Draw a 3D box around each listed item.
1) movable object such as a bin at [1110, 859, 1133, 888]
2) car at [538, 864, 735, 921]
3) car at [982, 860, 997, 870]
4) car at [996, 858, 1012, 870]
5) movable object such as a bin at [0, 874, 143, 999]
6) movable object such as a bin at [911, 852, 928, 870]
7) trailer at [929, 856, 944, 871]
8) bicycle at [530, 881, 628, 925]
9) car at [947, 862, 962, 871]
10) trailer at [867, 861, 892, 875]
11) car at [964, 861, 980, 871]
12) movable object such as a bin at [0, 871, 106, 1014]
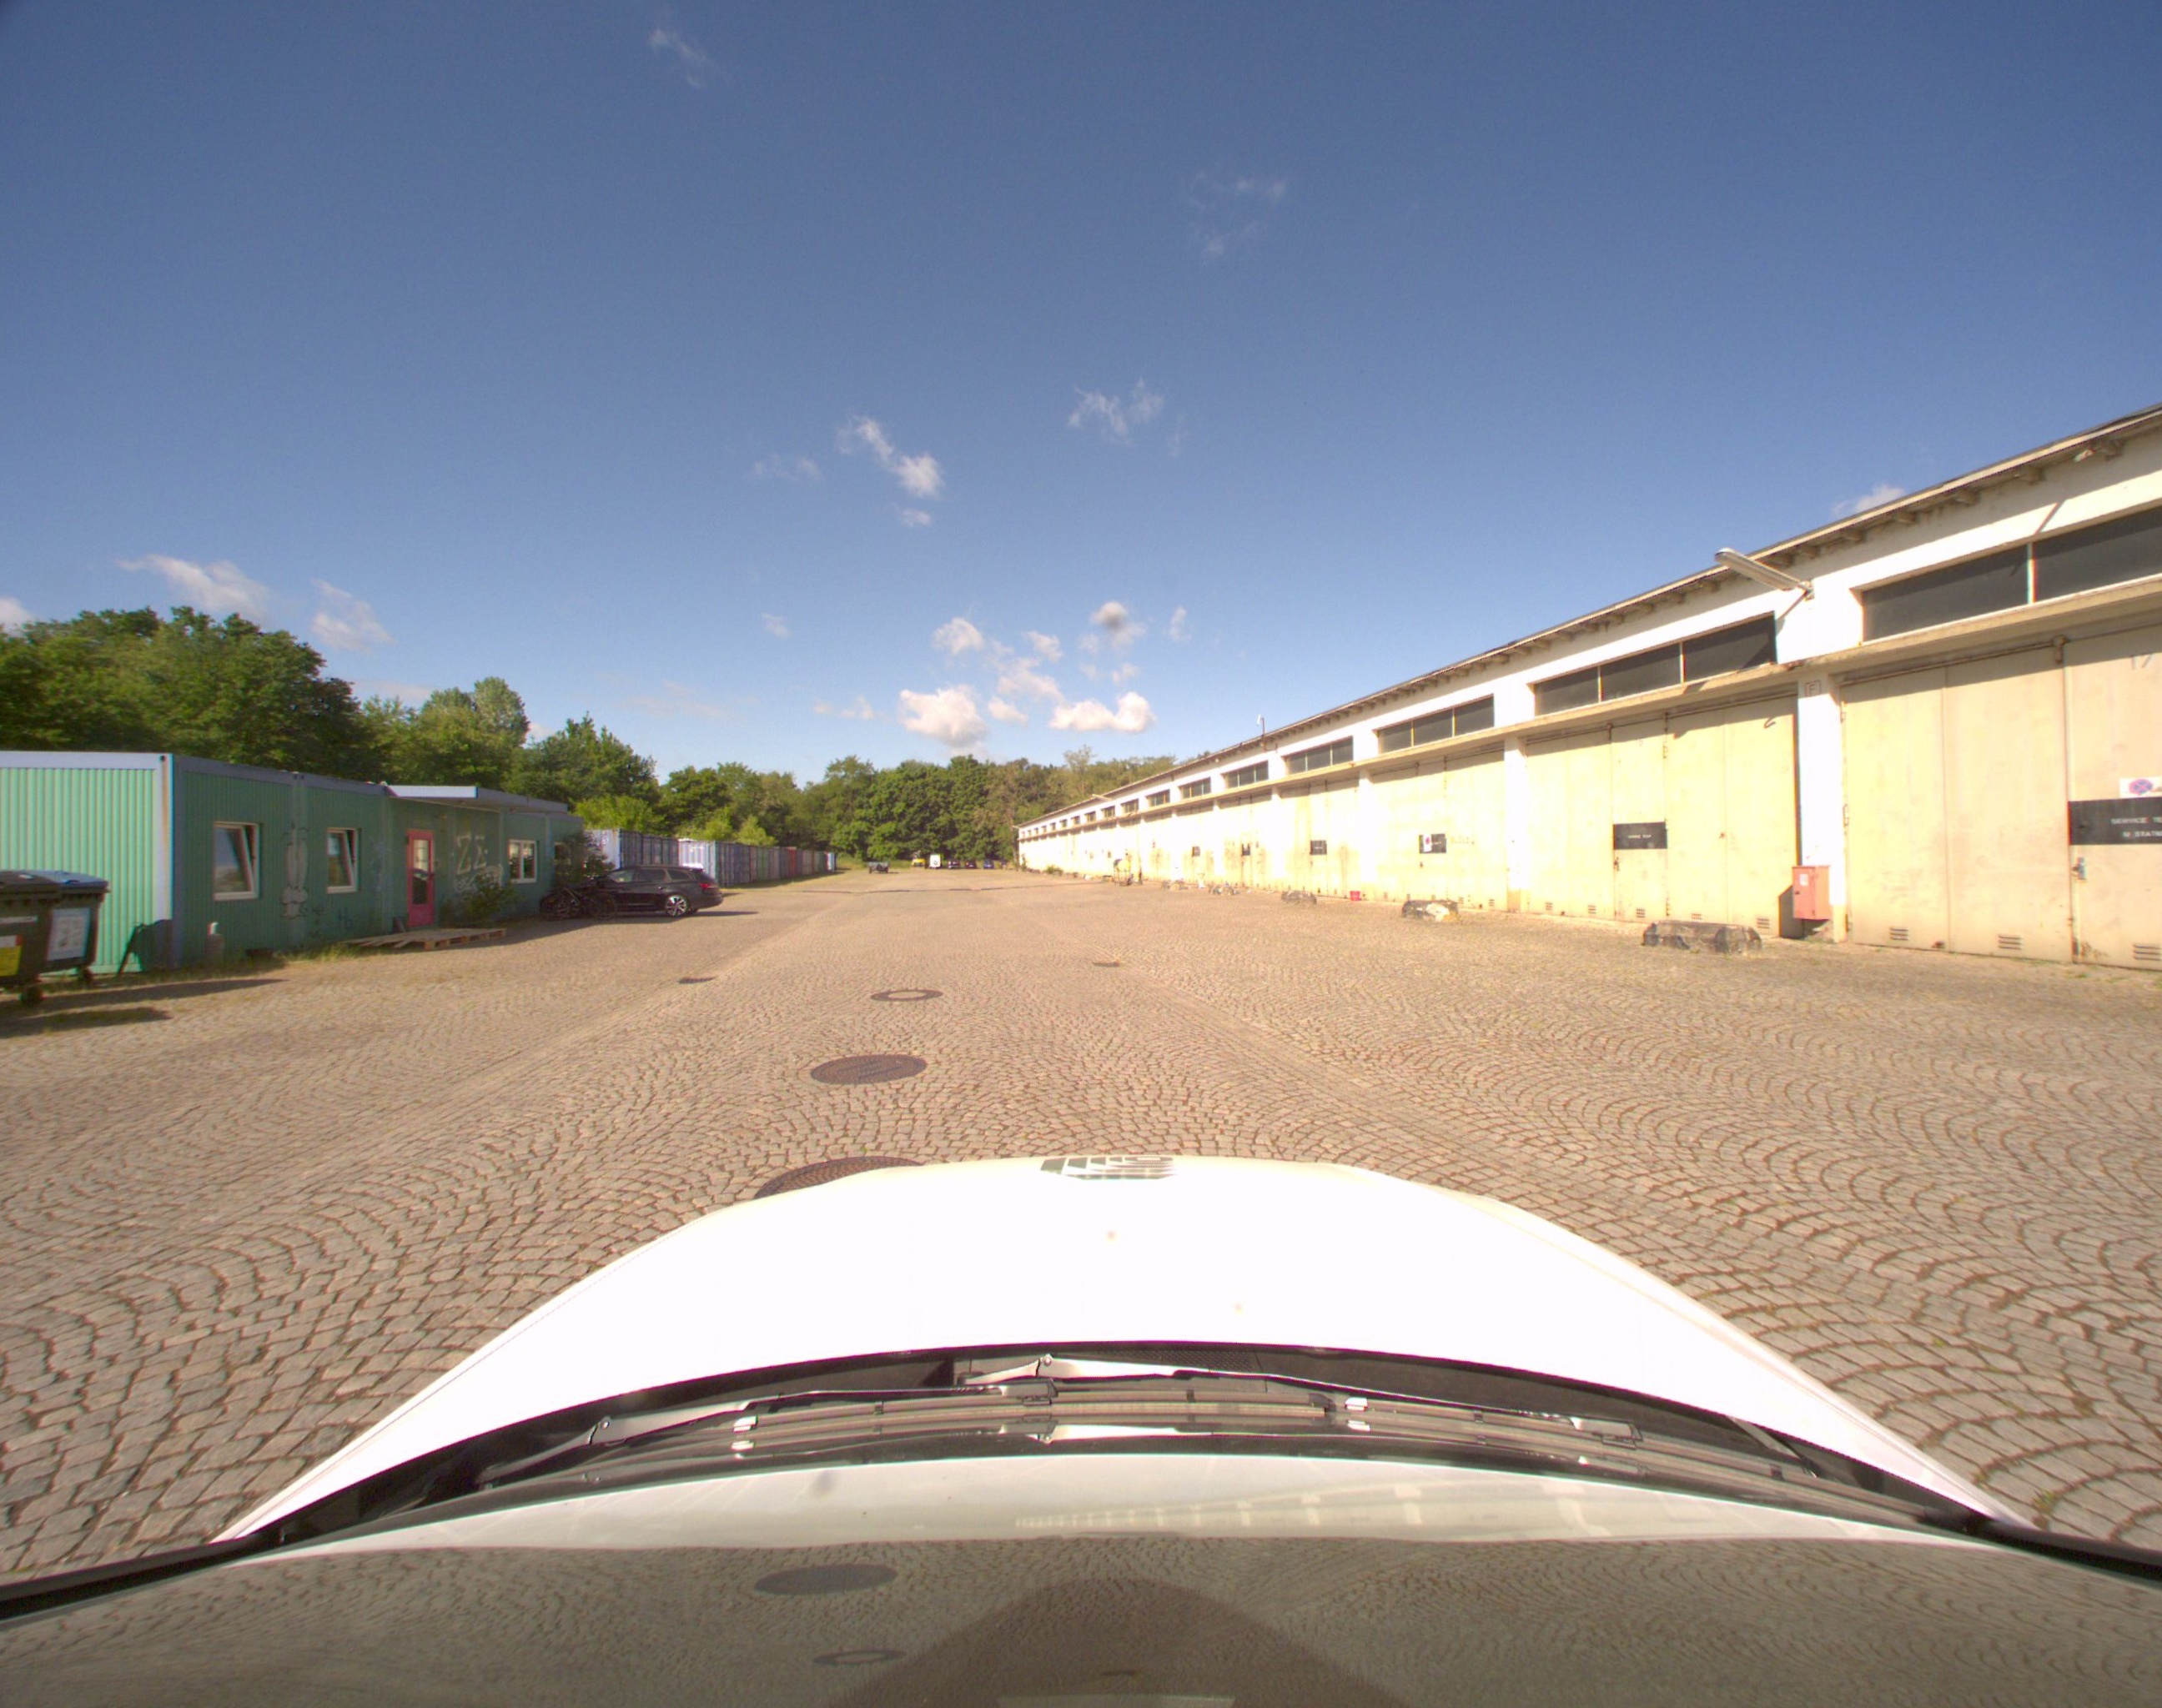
[{"bbox_3d":[1.989,0.937,40.126,0.875,1.401,1.097,-1,-1,-12],"label":"movable object such as a bin"},{"bbox_3d":[-12.189,1.039,22.698,4.422,1.464,1.990,1,-1,-15],"label":"car"},{"bbox_3d":[-13.727,1.642,121.854,1.995,1.466,3.984,-1,0,-11],"label":"car"},{"bbox_3d":[-11.649,1.492,123.552,1.995,1.772,3.984,-1,0,-11],"label":"car"},{"bbox_3d":[-12.742,0.953,9.783,1.388,1.386,1.524,-1,-1,-23],"label":"movable object such as a bin"},{"bbox_3d":[-24.095,1.040,121.376,2.235,2.657,3.981,-1,0,-13],"label":"movable object such as a bin"},{"bbox_3d":[-21.531,1.376,121.130,1.995,2.162,4.414,-1,0,-12],"label":"trailer"},{"bbox_3d":[-12.829,1.238,20.883,1.877,1.028,1.033,-1,0,-14],"label":"bicycle"},{"bbox_3d":[-18.674,1.793,120.460,1.995,1.258,3.984,-1,0,-11],"label":"car"},{"bbox_3d":[-25.039,1.769,101.526,2.793,1.646,5.597,-1,0,-12],"label":"trailer"},{"bbox_3d":[-16.268,1.727,121.339,1.995,1.424,3.984,-1,0,-11],"label":"car"},{"bbox_3d":[-11.559,0.911,8.357,1.296,1.422,1.530,-1,-1,-10],"label":"movable object such as a bin"}]
